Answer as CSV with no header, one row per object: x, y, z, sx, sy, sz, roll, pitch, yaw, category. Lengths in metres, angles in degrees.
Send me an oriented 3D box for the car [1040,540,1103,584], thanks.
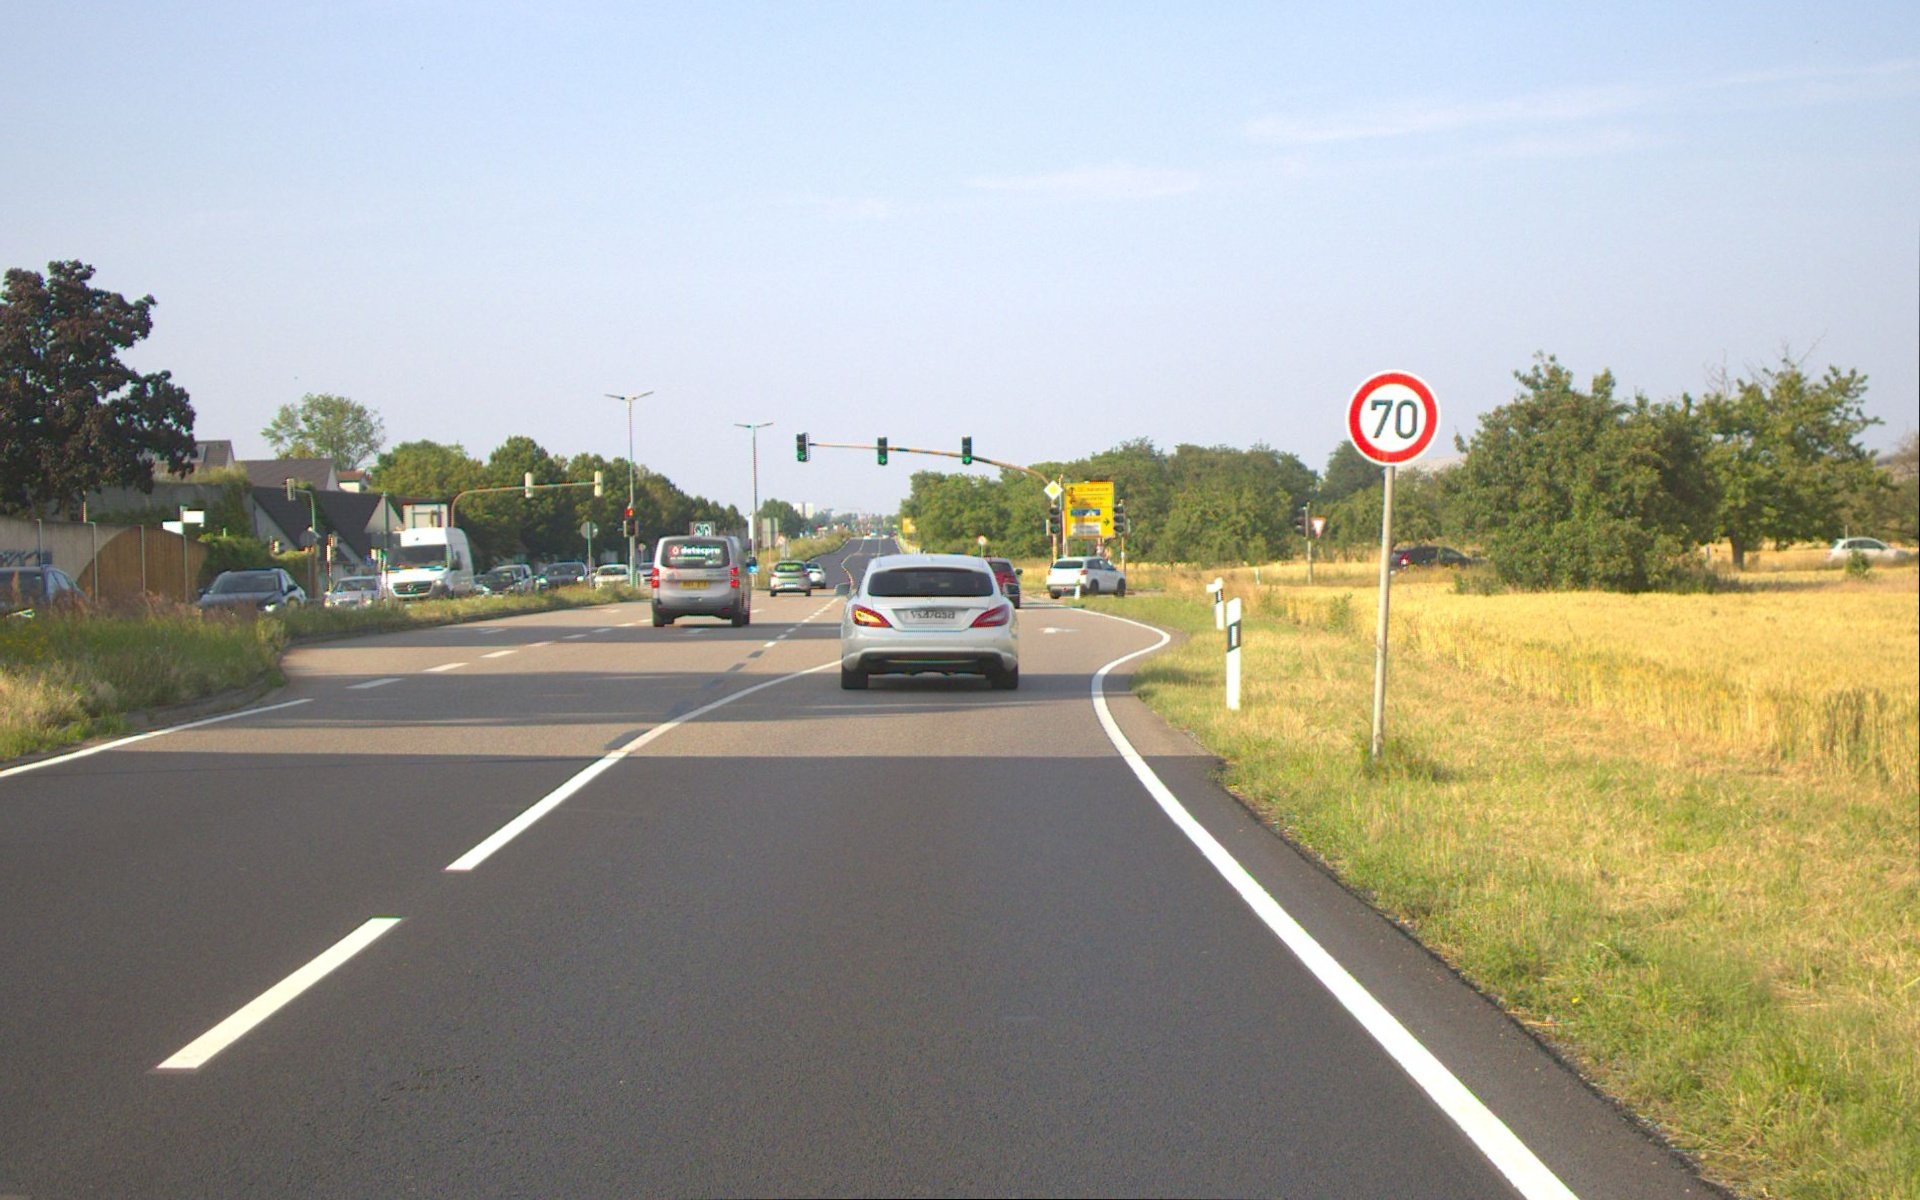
4.216,-1.448,129.369,1.855,1.592,3.999,1,1,9,car

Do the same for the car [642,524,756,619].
-5.417,-0.635,71.864,2.025,1.885,4.959,1,1,0,car

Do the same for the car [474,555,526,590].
-19.776,-1.184,147.998,1.710,1.451,4.000,1,1,0,car

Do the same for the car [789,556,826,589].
-8.009,-1.432,180.090,1.775,1.660,3.664,0,1,-4,car

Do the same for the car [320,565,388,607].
-19.318,-0.448,109.742,1.685,1.282,3.147,1,1,-2,car

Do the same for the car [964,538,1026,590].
1.032,-1.091,102.725,1.754,1.511,4.000,-1,1,0,car

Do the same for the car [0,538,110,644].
-13.712,-0.163,50.165,1.514,1.460,4.659,1,1,-1,car

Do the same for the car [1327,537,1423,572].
16.864,-1.854,139.828,3.683,1.415,1.640,1,1,1,car

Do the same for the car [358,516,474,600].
-15.466,-1.226,98.096,2.348,2.295,7.192,1,1,-2,car

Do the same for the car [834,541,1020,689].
-0.383,0.121,37.113,1.894,1.503,4.000,0,1,-1,car

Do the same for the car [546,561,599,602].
-15.662,-0.764,139.187,1.731,1.619,4.923,1,1,-2,car

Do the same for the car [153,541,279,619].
-14.314,-0.407,66.288,1.648,1.437,3.568,1,1,0,car

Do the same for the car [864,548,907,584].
-3.640,-1.653,166.576,1.839,1.678,4.001,0,1,-5,car

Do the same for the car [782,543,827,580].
-6.528,-1.624,144.546,1.717,1.487,3.585,1,1,-1,car
